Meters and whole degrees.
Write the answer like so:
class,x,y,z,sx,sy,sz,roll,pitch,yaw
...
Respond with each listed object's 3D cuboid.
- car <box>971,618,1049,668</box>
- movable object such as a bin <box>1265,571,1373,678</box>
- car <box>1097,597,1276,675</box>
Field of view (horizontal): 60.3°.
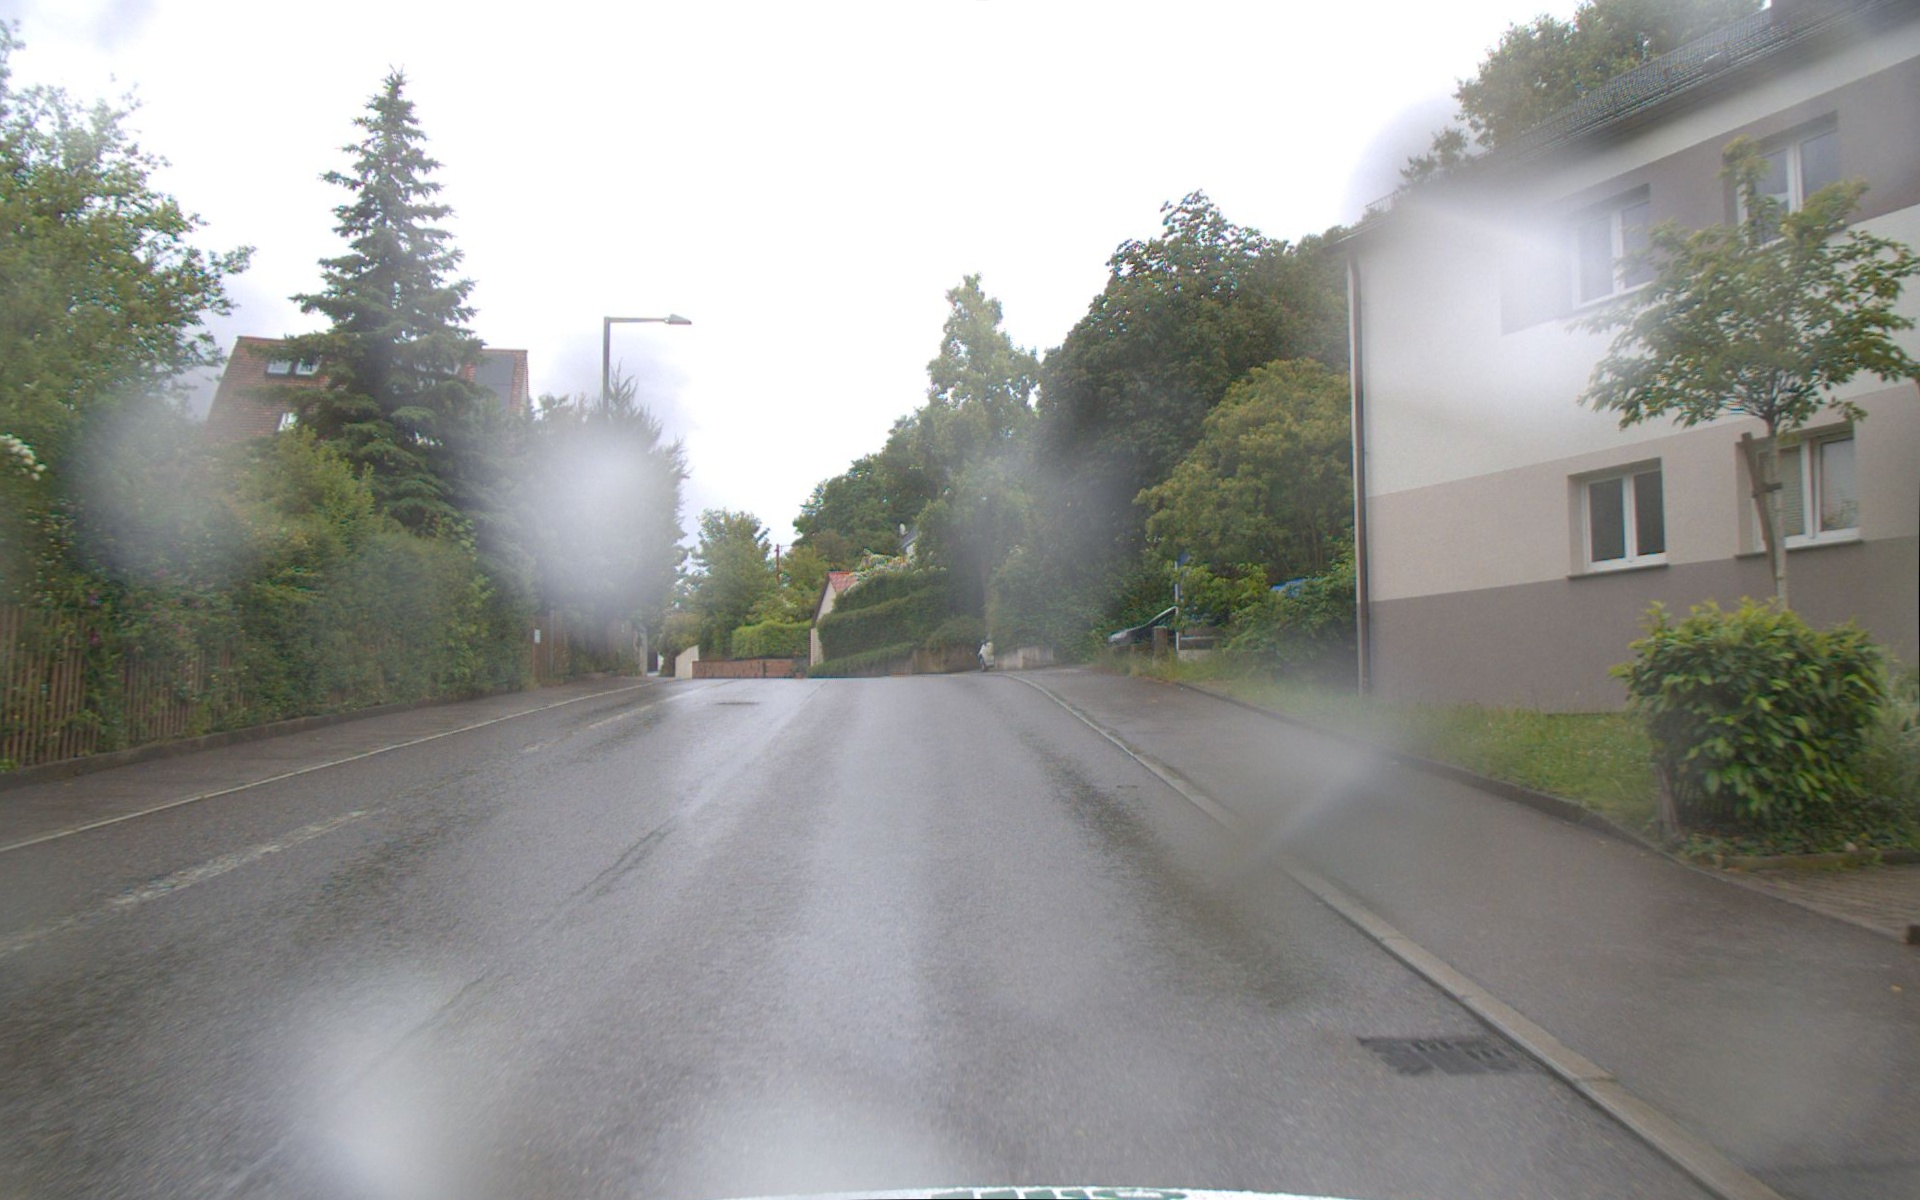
class,x,y,z,sx,sy,sz,roll,pitch,yaw
car,1.716,1.527,58.129,1.508,1.562,3.826,-5,-1,-17
movable object such as a bin,5.287,0.350,24.385,1.230,1.524,0.971,-1,-1,-36
car,5.606,0.902,40.778,4.239,1.746,1.730,1,-3,10
